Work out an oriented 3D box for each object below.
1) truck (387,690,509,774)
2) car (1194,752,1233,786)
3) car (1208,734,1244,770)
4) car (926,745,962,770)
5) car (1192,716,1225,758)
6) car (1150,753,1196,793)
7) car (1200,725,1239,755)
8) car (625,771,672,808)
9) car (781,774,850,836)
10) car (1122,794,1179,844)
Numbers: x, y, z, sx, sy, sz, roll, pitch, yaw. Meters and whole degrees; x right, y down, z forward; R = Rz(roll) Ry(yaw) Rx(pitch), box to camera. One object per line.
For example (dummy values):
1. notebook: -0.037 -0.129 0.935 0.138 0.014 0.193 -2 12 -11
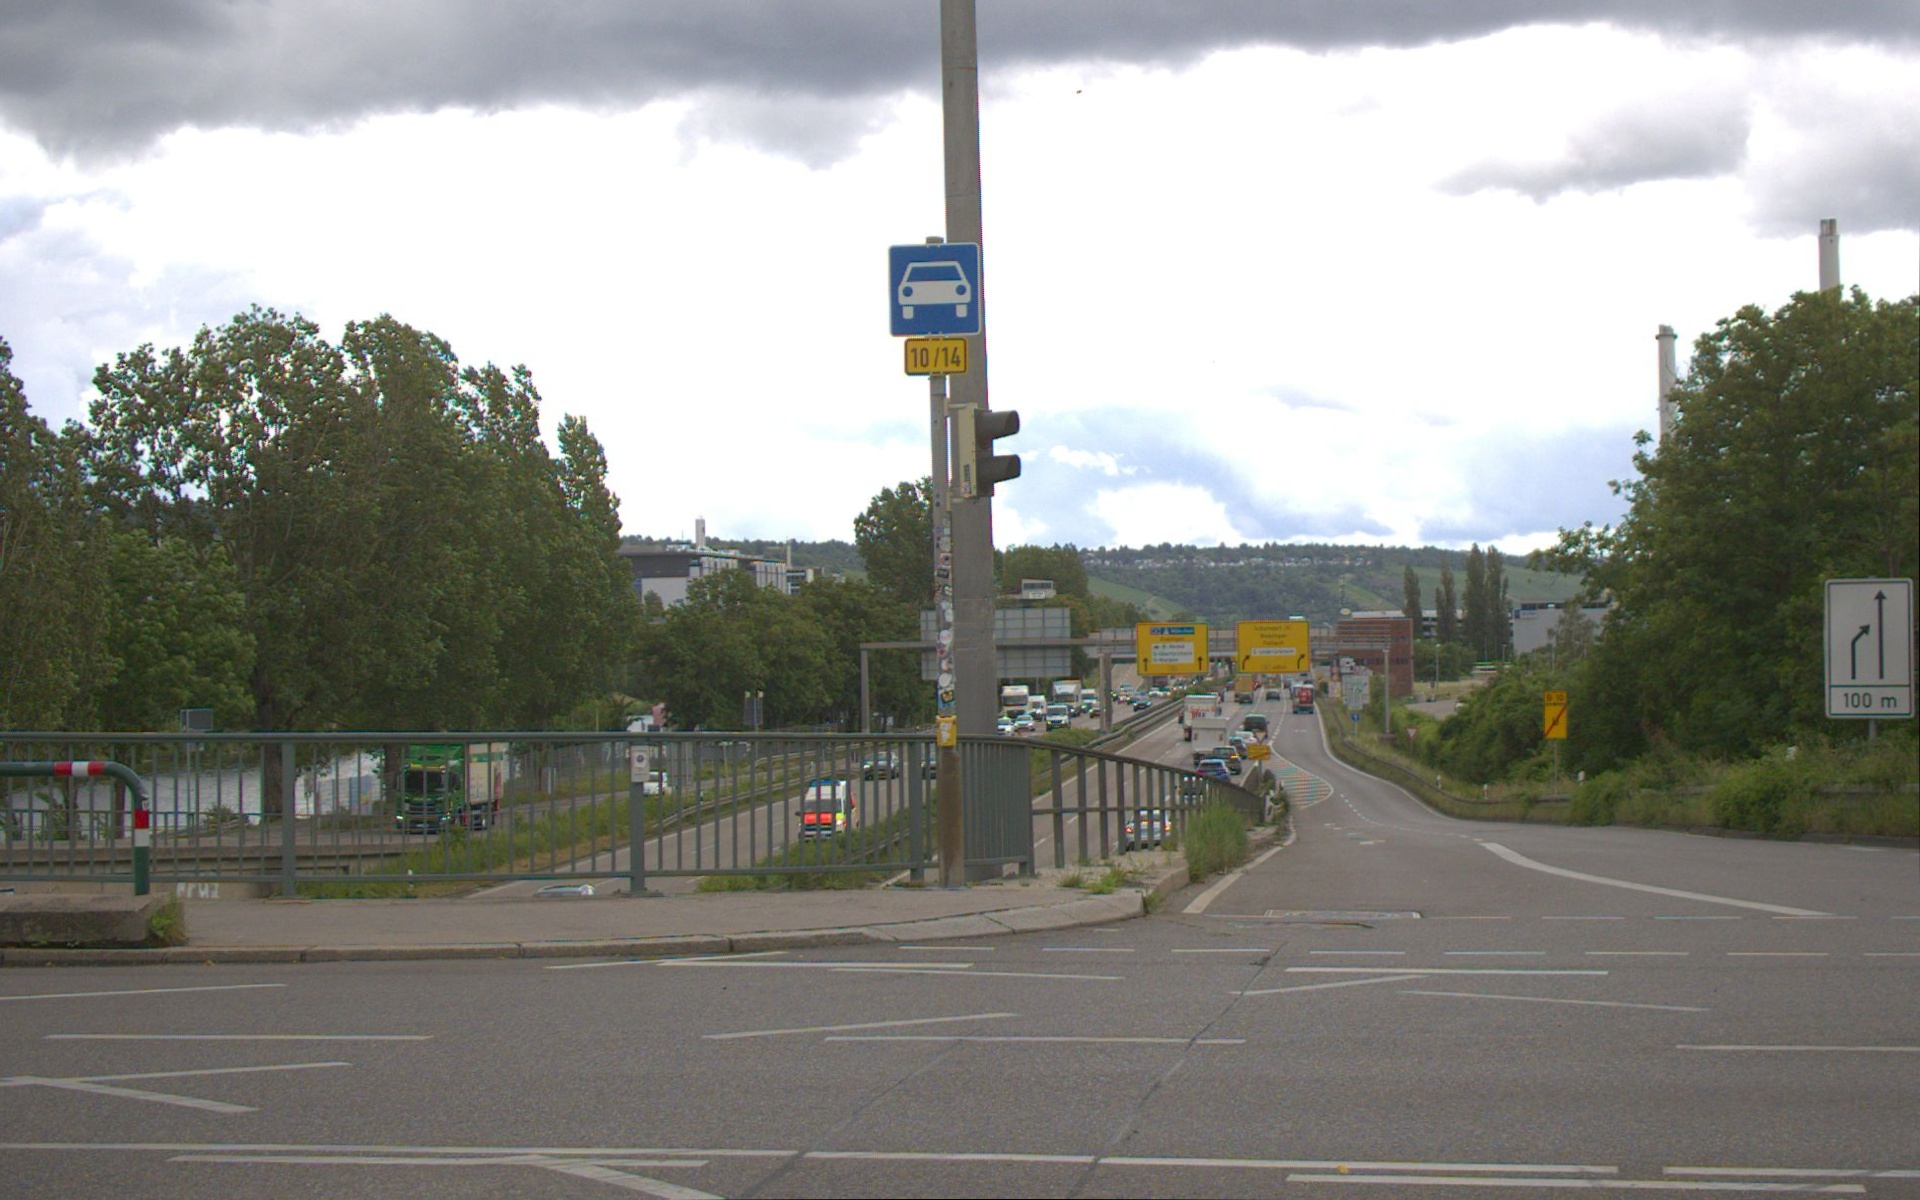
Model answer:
1. truck: -22.430 5.745 151.003 2.774 3.498 9.254 -1 -1 8
2. car: 13.570 9.035 183.969 1.994 1.731 3.996 -2 -3 4
3. car: 15.702 8.968 202.781 1.994 2.007 3.999 -2 -3 4
4. car: -1.139 11.051 241.188 1.994 1.701 4.078 -2 -3 6
5. car: 15.826 8.737 219.062 1.994 2.613 5.397 -2 -3 4
6. car: 9.871 8.005 159.157 1.994 1.731 3.996 -2 -3 4
7. car: 17.392 9.435 230.642 2.531 1.895 4.880 -2 -3 4
8. car: -16.915 10.294 186.838 1.994 1.663 3.771 -1 1 4
9. car: -5.782 8.213 138.036 1.994 2.363 4.588 -2 -3 6
10. car: 7.090 8.124 127.807 1.994 1.731 3.996 -2 -3 4
